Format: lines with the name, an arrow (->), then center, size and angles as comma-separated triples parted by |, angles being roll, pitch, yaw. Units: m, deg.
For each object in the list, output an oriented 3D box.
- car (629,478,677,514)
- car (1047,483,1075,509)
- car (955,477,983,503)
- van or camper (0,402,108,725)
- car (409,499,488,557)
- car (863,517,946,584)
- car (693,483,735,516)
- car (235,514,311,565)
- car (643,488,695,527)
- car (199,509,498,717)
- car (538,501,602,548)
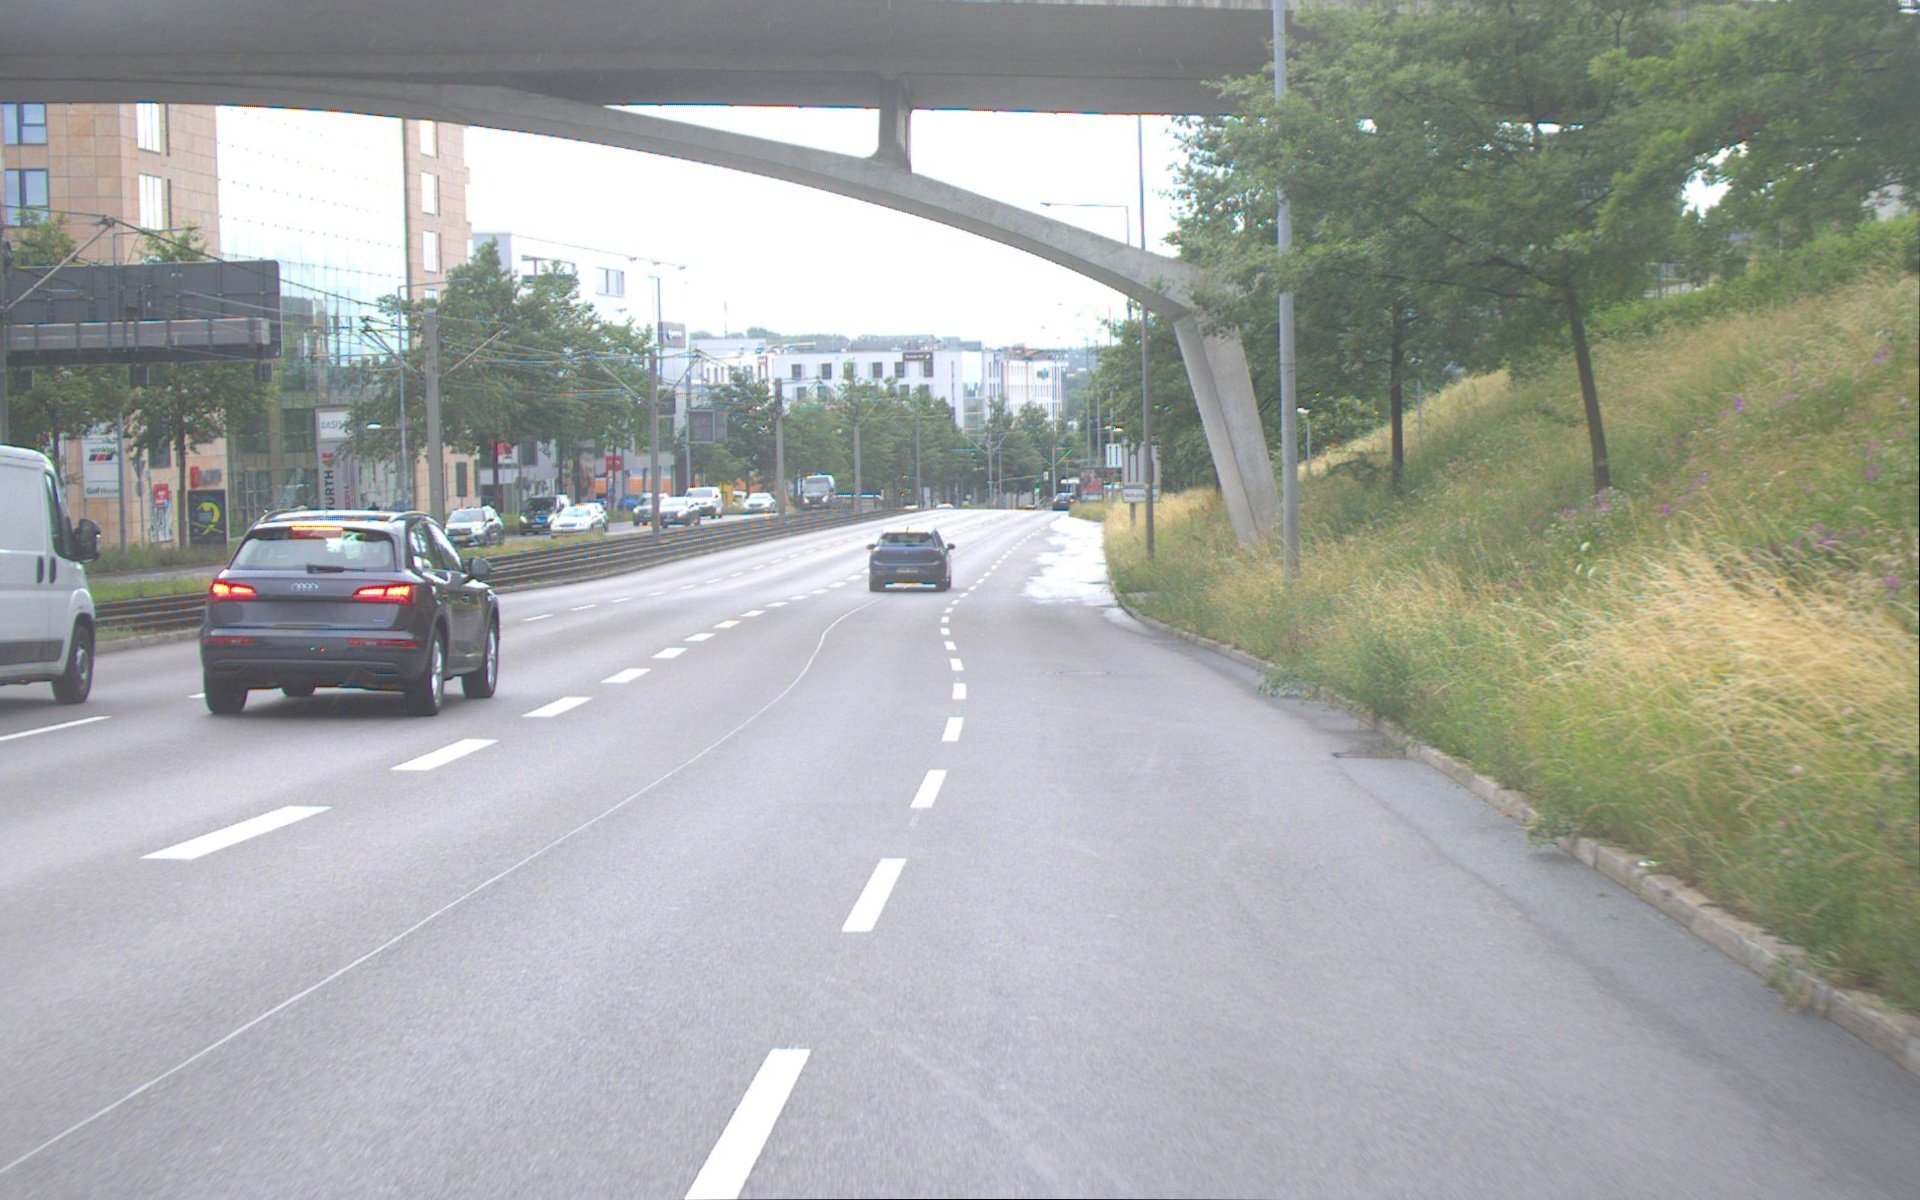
car -> -16.507, -5.604, 184.996 | 1.994, 1.729, 4.248 | 1, 4, 3
car -> 7.693, -7.935, 261.767 | 1.862, 1.743, 4.001 | 1, 4, -2
car -> 0.644, -8.088, 252.120 | 1.862, 1.743, 4.001 | 1, 4, -2
van or camper -> -8.483, -0.327, 27.204 | 2.203, 2.430, 5.533 | 1, 4, -1
car -> -17.963, -2.518, 120.898 | 1.994, 2.007, 4.000 | 0, 1, 3
car -> -1.253, -1.152, 78.540 | 1.749, 1.415, 3.478 | 0, 2, 2
car -> -14.531, -5.967, 203.303 | 1.994, 1.729, 4.248 | 1, 4, 3
car -> -27.029, -2.388, 135.341 | 1.994, 2.007, 4.000 | 0, 1, 3
car -> -14.431, -4.612, 170.810 | 1.994, 1.729, 4.248 | 1, 4, 3
car -> -5.080, 0.064, 29.147 | 1.751, 1.612, 4.749 | 0, 1, -1
car -> -16.435, -3.202, 145.128 | 1.994, 1.729, 4.248 | 1, 4, 3
